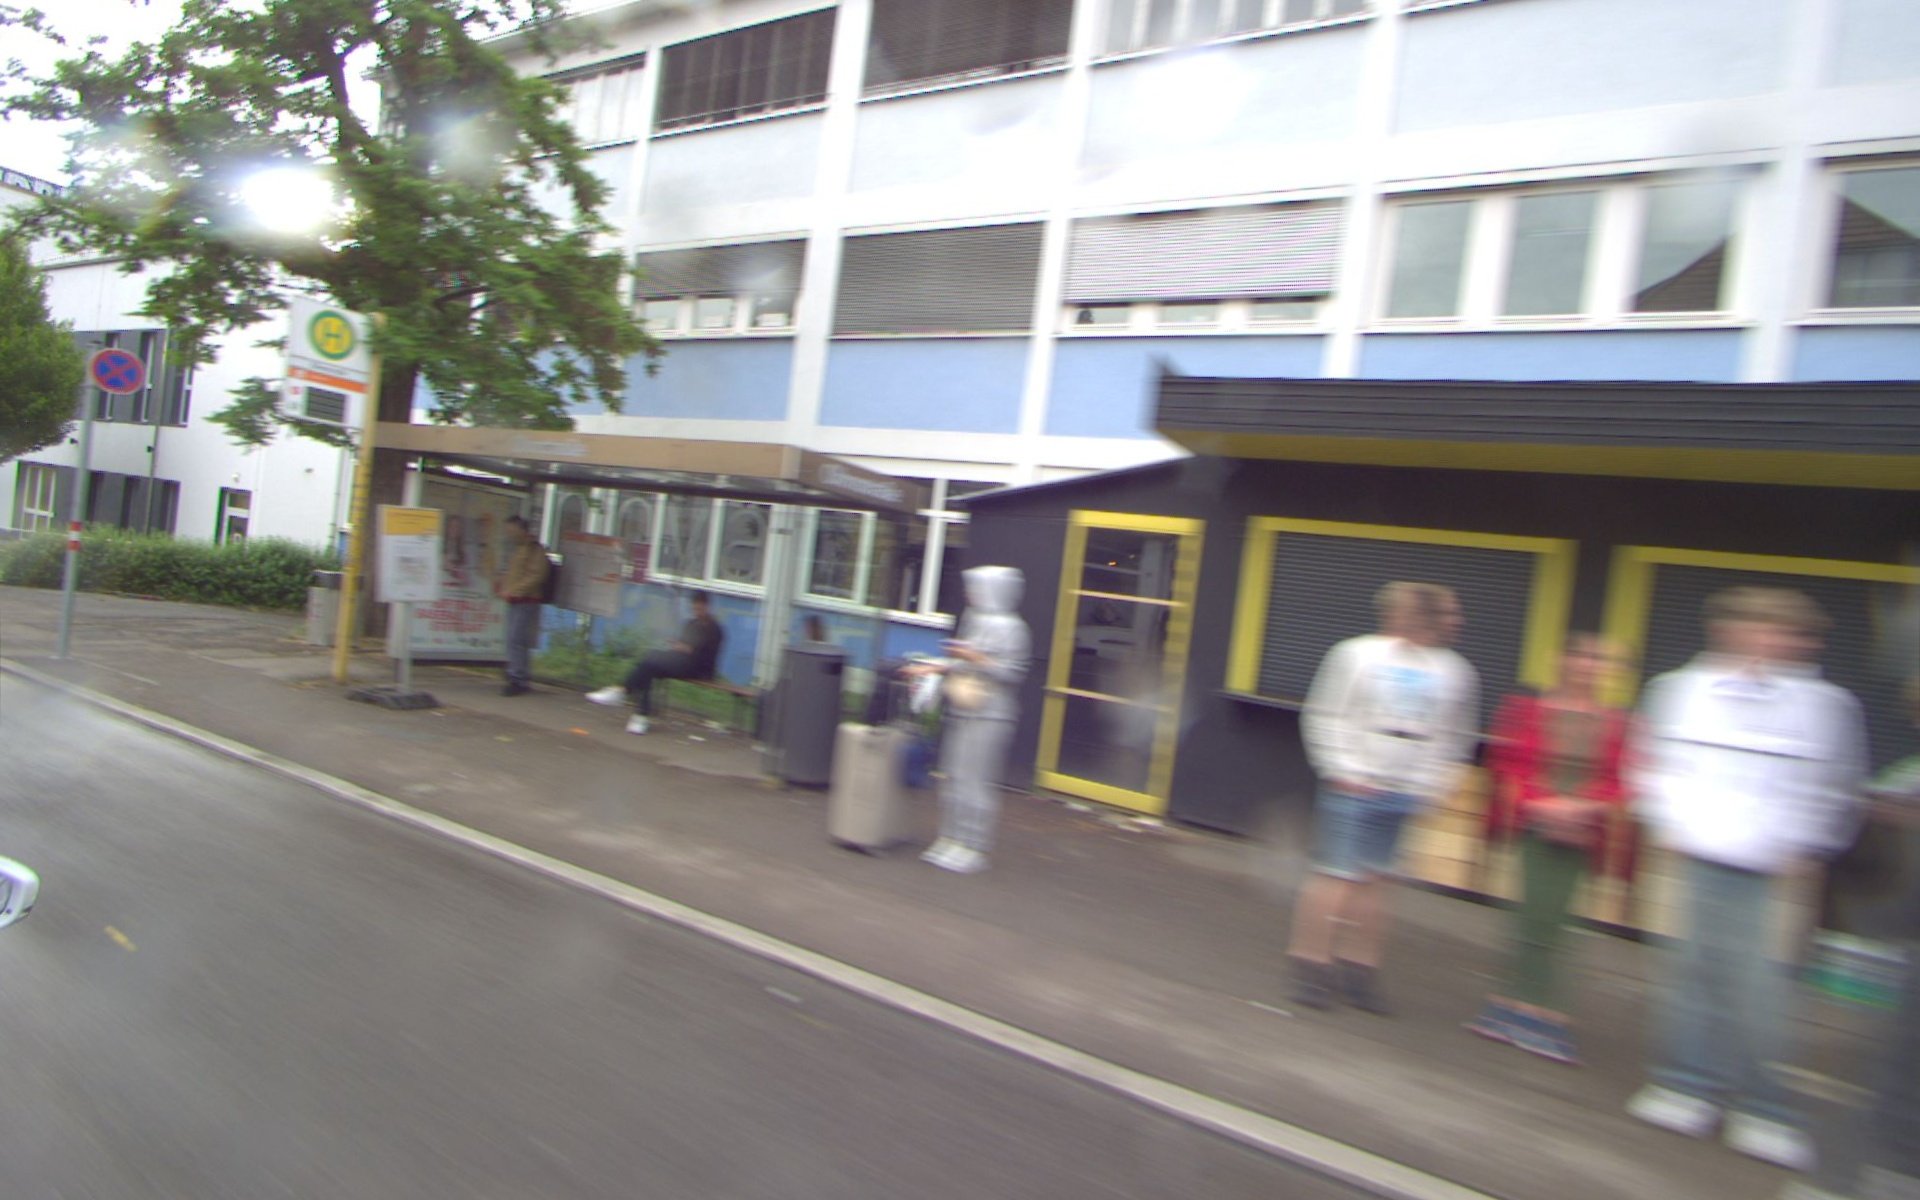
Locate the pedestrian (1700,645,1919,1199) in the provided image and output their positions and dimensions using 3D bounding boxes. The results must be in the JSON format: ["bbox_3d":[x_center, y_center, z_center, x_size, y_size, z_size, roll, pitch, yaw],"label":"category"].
[{"bbox_3d":[2.828,1.049,2.873,0.735,1.733,0.635,5,3,-2],"label":"pedestrian"}]

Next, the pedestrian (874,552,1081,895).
[{"bbox_3d":[0.109,0.662,5.792,0.814,1.764,0.661,7,2,26],"label":"pedestrian"}]

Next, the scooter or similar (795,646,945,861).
[{"bbox_3d":[-0.532,0.882,6.047,0.558,1.155,0.618,7,2,26],"label":"scooter or similar"}]

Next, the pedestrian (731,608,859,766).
[{"bbox_3d":[-1.408,0.725,8.630,0.728,1.214,0.661,7,2,26],"label":"pedestrian"}]

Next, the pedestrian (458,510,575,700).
[{"bbox_3d":[-4.588,0.052,10.423,0.728,1.855,0.647,7,2,26],"label":"pedestrian"}]

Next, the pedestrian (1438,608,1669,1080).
[{"bbox_3d":[2.406,0.931,4.092,0.549,1.731,0.445,8,4,42],"label":"pedestrian"}]

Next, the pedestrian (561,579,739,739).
[{"bbox_3d":[-2.801,0.521,9.217,0.728,1.290,1.358,7,1,26],"label":"pedestrian"}]

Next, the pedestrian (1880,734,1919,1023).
[{"bbox_3d":[5.092,1.295,4.773,0.613,1.647,0.674,6,3,3],"label":"pedestrian"}]

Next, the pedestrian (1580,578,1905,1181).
[{"bbox_3d":[2.761,0.909,3.577,0.484,1.900,0.625,3,4,-39],"label":"pedestrian"}]

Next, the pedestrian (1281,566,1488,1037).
[{"bbox_3d":[1.840,0.820,4.371,0.594,1.865,0.459,7,3,26],"label":"pedestrian"}]
